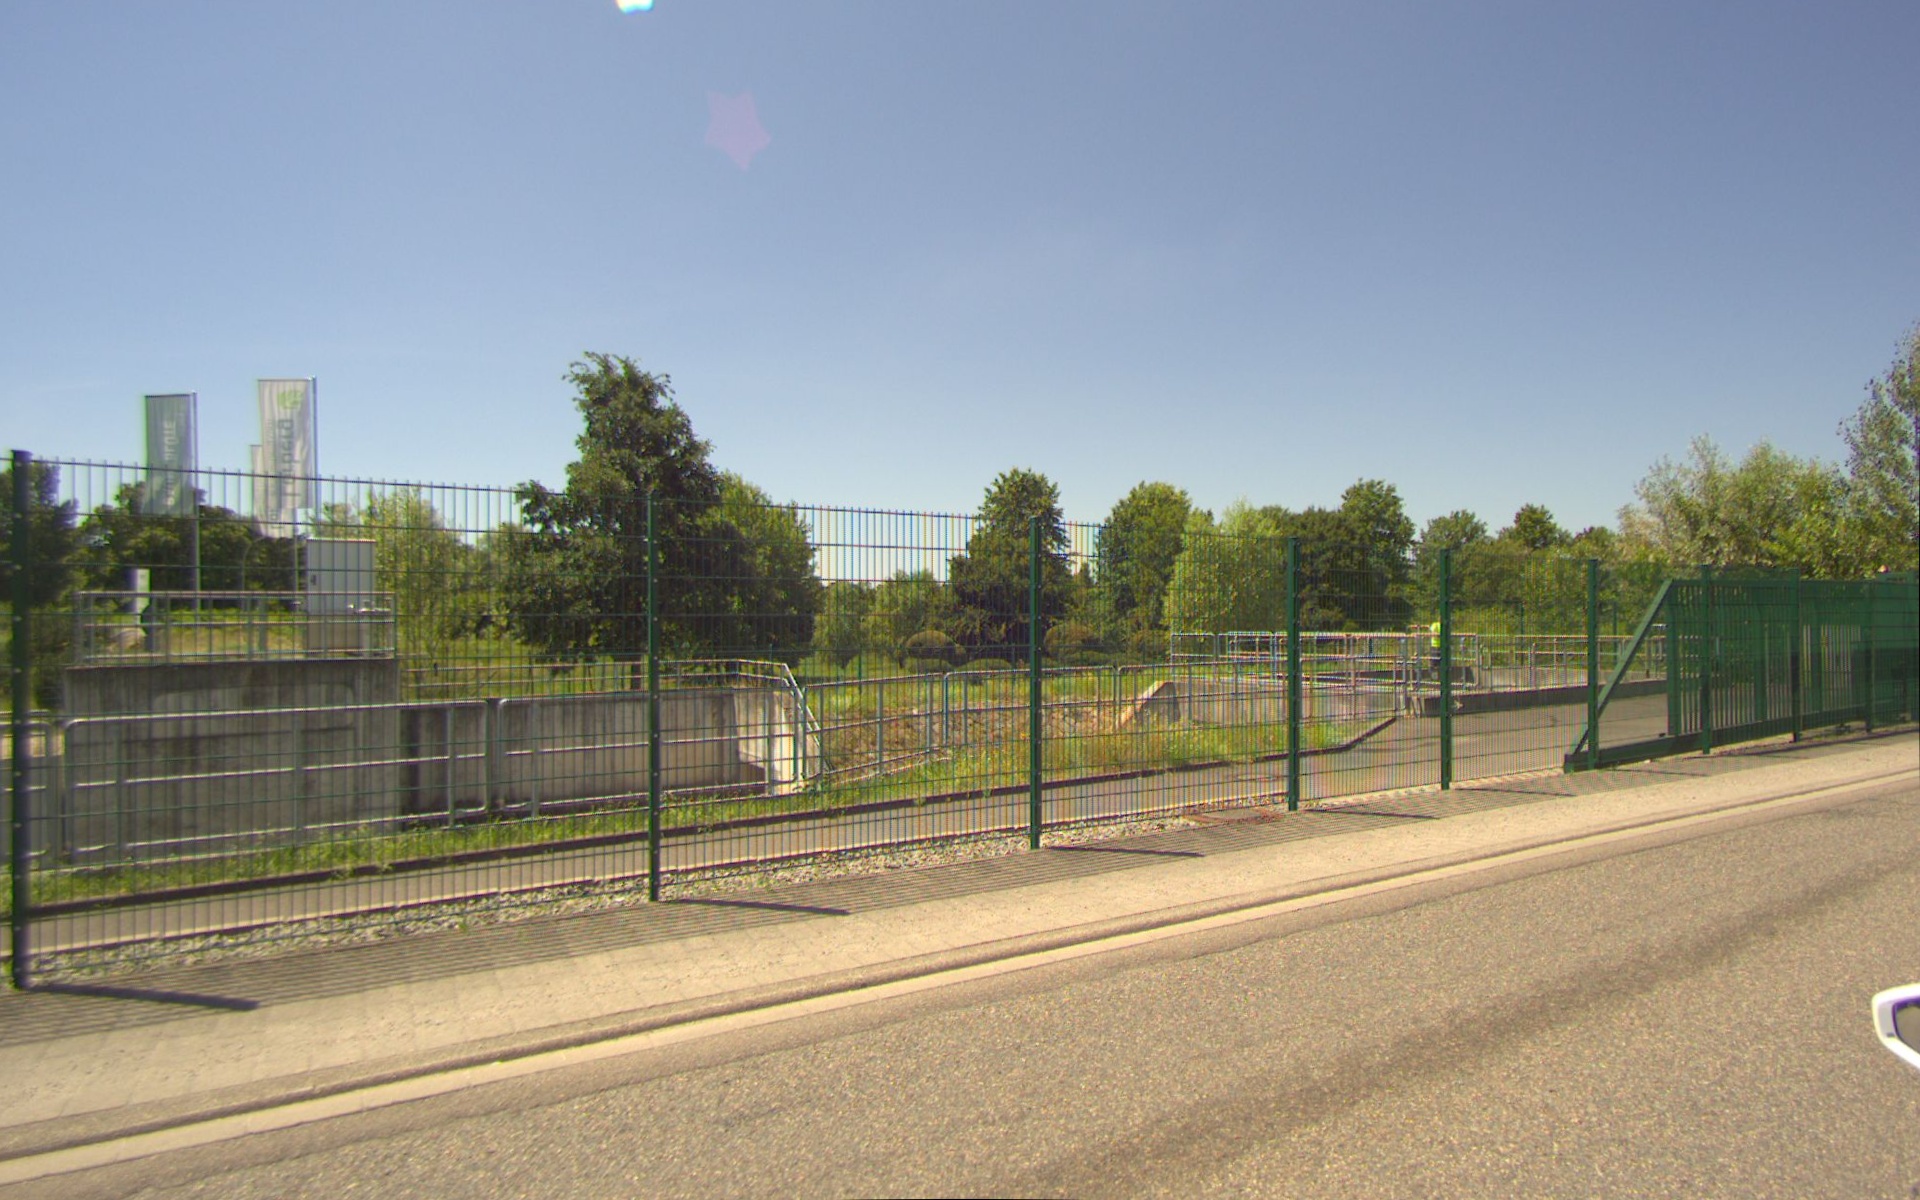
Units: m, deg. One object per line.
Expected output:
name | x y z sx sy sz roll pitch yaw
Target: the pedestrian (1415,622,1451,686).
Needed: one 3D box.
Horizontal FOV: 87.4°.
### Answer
pedestrian | 13.979 1.581 29.680 0.796 1.863 0.602 1 -2 -32
